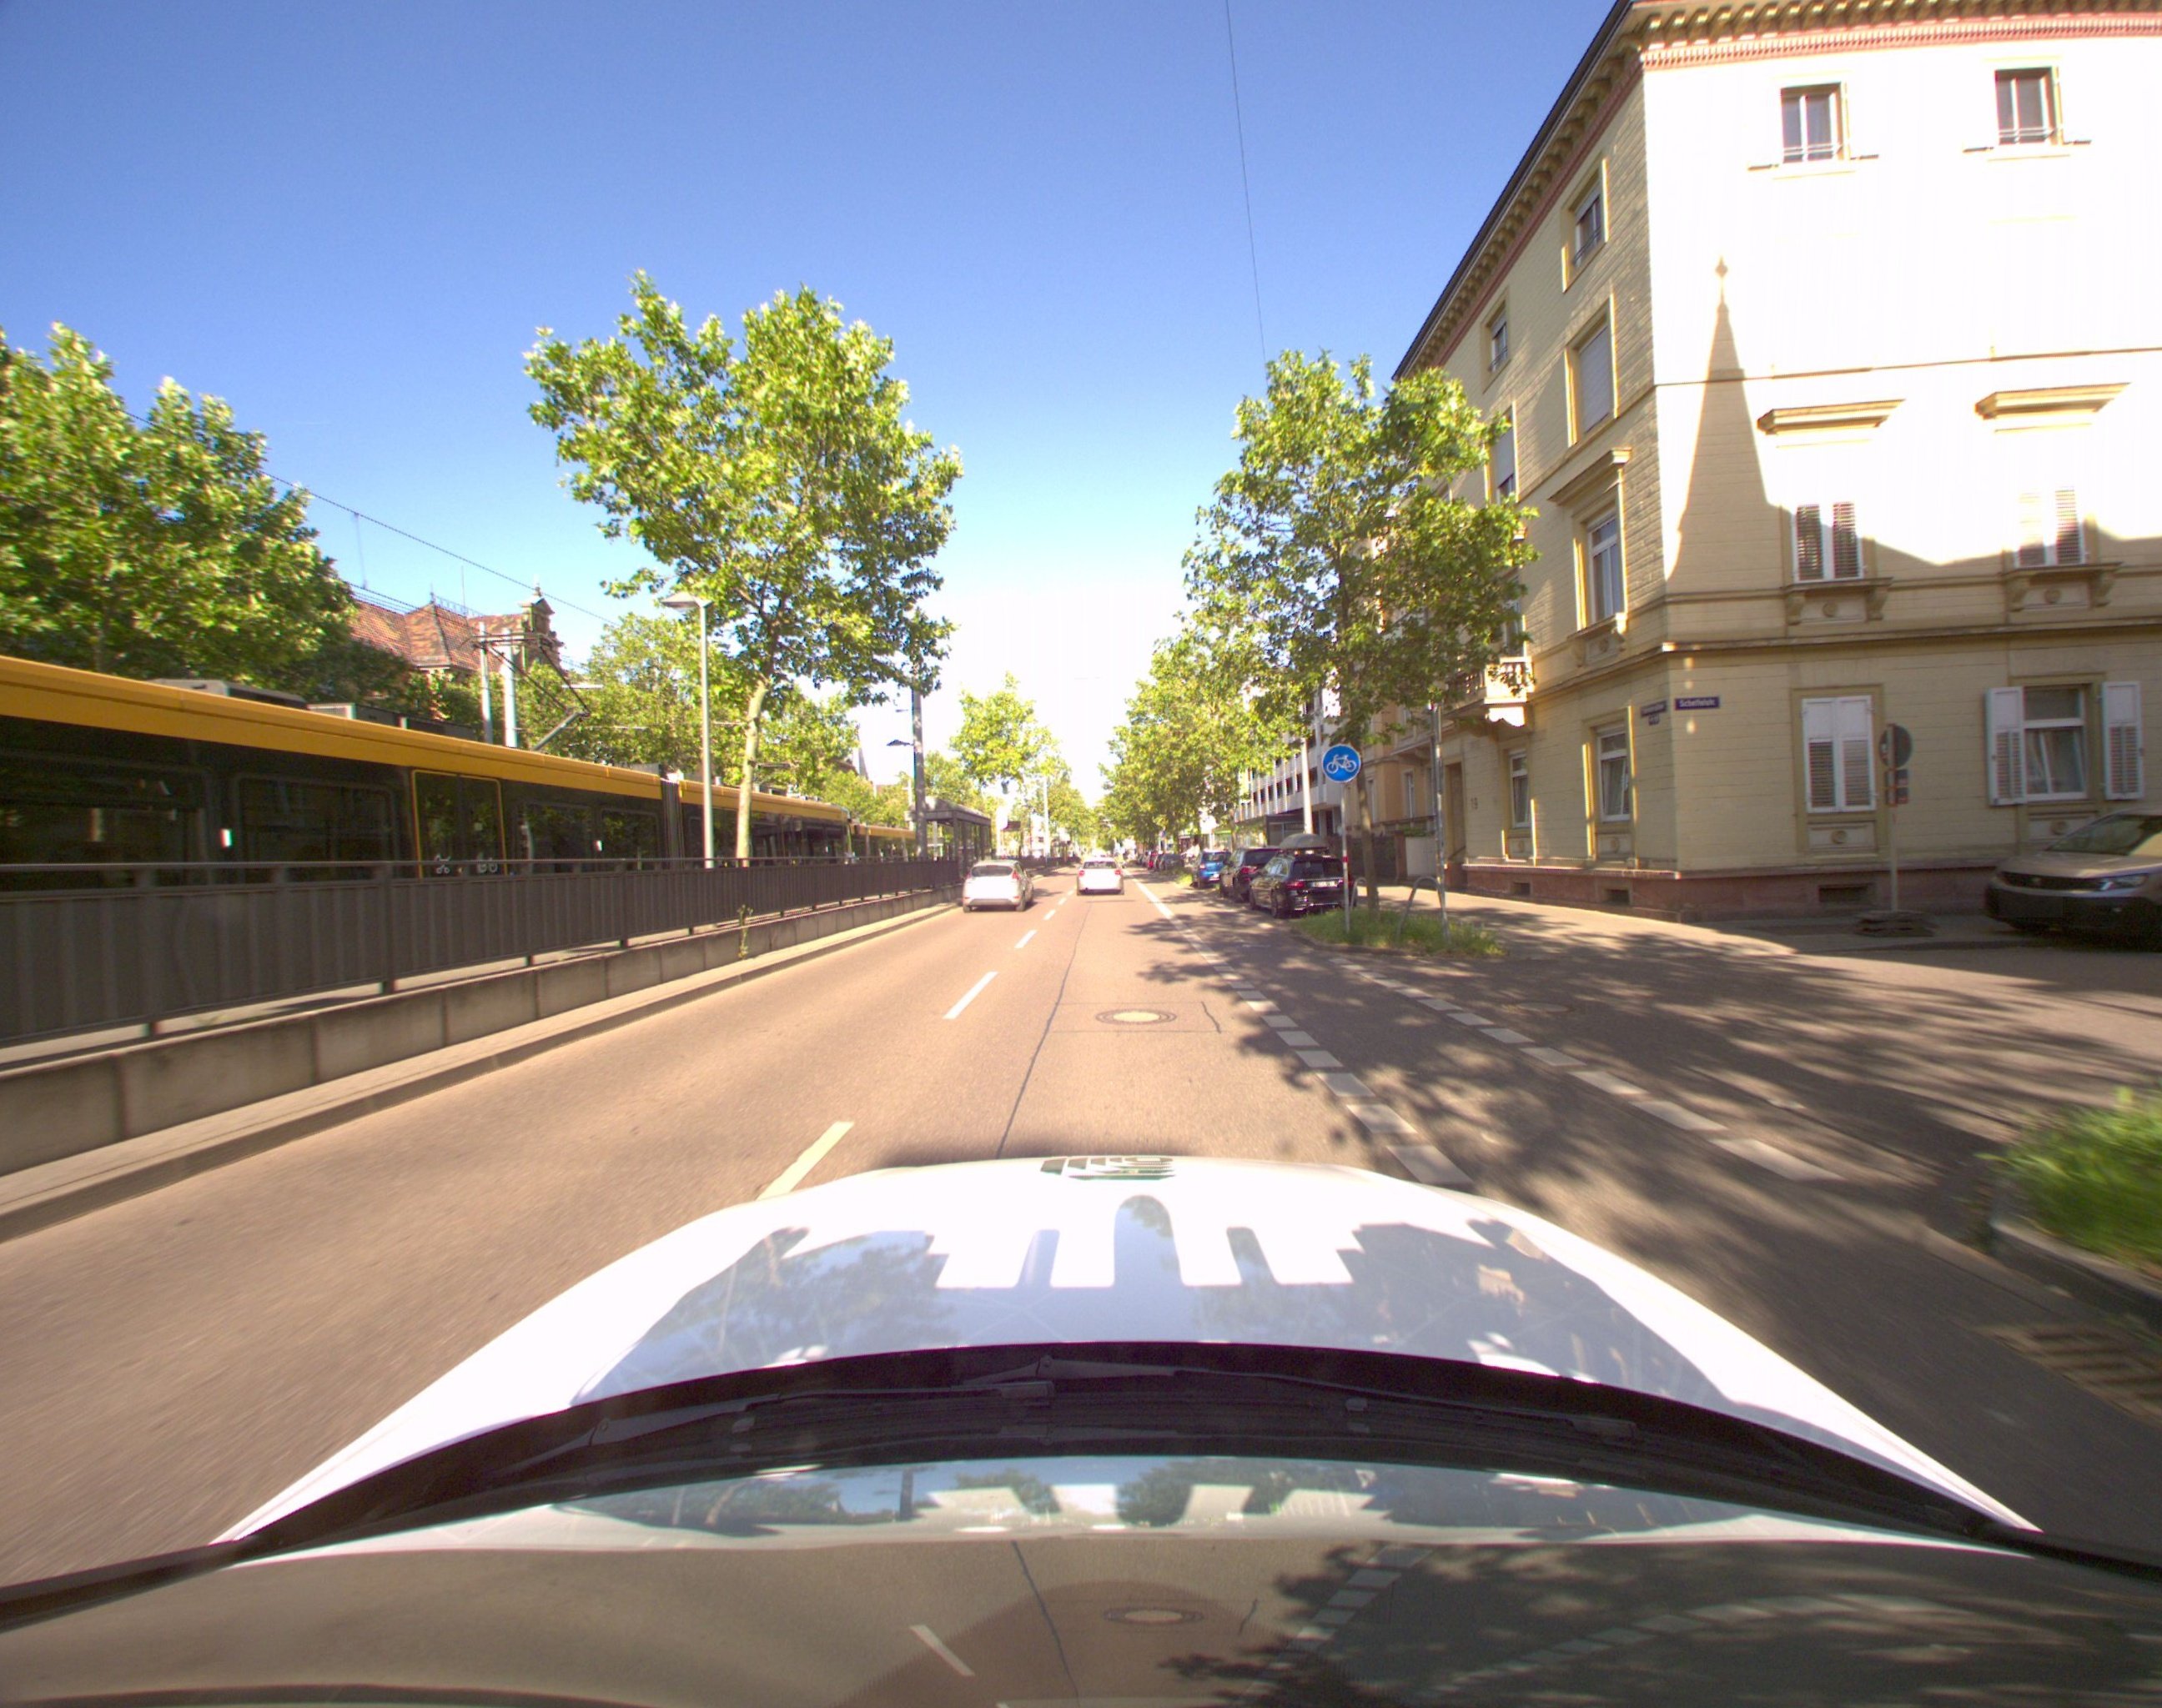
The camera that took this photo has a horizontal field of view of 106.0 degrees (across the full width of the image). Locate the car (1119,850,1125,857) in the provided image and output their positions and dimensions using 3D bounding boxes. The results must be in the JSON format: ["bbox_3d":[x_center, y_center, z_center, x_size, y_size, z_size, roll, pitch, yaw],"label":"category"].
[{"bbox_3d":[12.574,-0.092,248.696,1.868,2.013,3.713,-1,0,2],"label":"car"}]

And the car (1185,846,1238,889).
[{"bbox_3d":[5.576,0.533,35.197,1.685,1.658,4.041,-3,1,2],"label":"car"}]

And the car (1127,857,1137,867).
[{"bbox_3d":[10.998,1.712,175.787,1.986,2.013,4.002,-1,0,2],"label":"car"}]

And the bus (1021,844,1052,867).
[{"bbox_3d":[-7.607,0.214,143.115,2.858,3.628,24.617,-2,0,2],"label":"bus"}]

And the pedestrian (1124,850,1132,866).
[{"bbox_3d":[5.889,0.506,102.398,0.833,2.013,0.650,-1,0,9],"label":"pedestrian"}]

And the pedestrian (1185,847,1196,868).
[{"bbox_3d":[10.970,0.348,81.970,0.960,2.013,0.939,-2,0,2],"label":"pedestrian"}]

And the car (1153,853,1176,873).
[{"bbox_3d":[6.776,0.680,66.419,1.663,1.551,4.002,-1,0,2],"label":"car"}]

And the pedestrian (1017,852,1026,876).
[{"bbox_3d":[-4.733,0.786,64.994,0.636,1.954,0.814,-1,0,2],"label":"pedestrian"}]

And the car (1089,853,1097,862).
[{"bbox_3d":[2.985,0.853,201.661,1.986,2.013,4.002,-1,0,2],"label":"car"}]

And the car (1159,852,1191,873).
[{"bbox_3d":[7.024,0.647,61.204,1.986,1.509,4.600,-1,-1,2],"label":"car"}]

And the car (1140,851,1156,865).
[{"bbox_3d":[8.324,0.477,101.354,1.704,1.563,4.002,-1,0,2],"label":"car"}]

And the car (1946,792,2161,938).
[{"bbox_3d":[14.937,0.066,10.842,4.561,1.773,1.924,-2,0,5],"label":"car"}]

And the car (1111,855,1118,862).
[{"bbox_3d":[9.874,1.268,237.947,2.063,2.013,4.002,-2,0,2],"label":"car"}]

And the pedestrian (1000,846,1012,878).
[{"bbox_3d":[-4.644,0.505,50.429,0.636,1.954,0.814,-1,0,2],"label":"pedestrian"}]

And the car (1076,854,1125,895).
[{"bbox_3d":[0.767,0.737,31.651,1.756,1.432,4.001,-1,0,1],"label":"car"}]

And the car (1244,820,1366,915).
[{"bbox_3d":[5.245,0.281,19.712,1.748,1.965,4.739,-2,0,2],"label":"car"}]

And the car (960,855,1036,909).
[{"bbox_3d":[-2.317,0.751,23.638,1.640,1.363,3.762,-1,0,2],"label":"car"}]

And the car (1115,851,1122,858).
[{"bbox_3d":[10.422,0.155,225.472,1.986,2.014,4.002,-2,-1,2],"label":"car"}]

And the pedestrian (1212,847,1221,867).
[{"bbox_3d":[14.258,0.297,85.903,0.785,2.013,0.891,-2,0,2],"label":"pedestrian"}]

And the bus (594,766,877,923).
[{"bbox_3d":[-9.194,-0.209,24.022,2.858,3.444,11.617,-2,0,2],"label":"bus"}]

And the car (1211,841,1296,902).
[{"bbox_3d":[5.320,0.496,25.706,1.791,1.700,4.739,-2,0,2],"label":"car"}]

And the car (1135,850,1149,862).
[{"bbox_3d":[8.097,0.267,108.429,1.694,1.534,3.719,-1,0,2],"label":"car"}]

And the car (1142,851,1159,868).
[{"bbox_3d":[7.838,0.618,92.202,1.718,1.880,4.002,-1,0,2],"label":"car"}]

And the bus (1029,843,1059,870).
[{"bbox_3d":[-5.457,0.336,124.154,2.739,3.625,18.858,-2,0,2],"label":"bus"}]

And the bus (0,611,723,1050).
[{"bbox_3d":[-9.669,-0.152,12.021,2.858,3.444,12.221,-2,0,2],"label":"bus"}]

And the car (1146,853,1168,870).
[{"bbox_3d":[7.130,0.741,76.714,1.799,1.520,4.002,-1,-1,2],"label":"car"}]
